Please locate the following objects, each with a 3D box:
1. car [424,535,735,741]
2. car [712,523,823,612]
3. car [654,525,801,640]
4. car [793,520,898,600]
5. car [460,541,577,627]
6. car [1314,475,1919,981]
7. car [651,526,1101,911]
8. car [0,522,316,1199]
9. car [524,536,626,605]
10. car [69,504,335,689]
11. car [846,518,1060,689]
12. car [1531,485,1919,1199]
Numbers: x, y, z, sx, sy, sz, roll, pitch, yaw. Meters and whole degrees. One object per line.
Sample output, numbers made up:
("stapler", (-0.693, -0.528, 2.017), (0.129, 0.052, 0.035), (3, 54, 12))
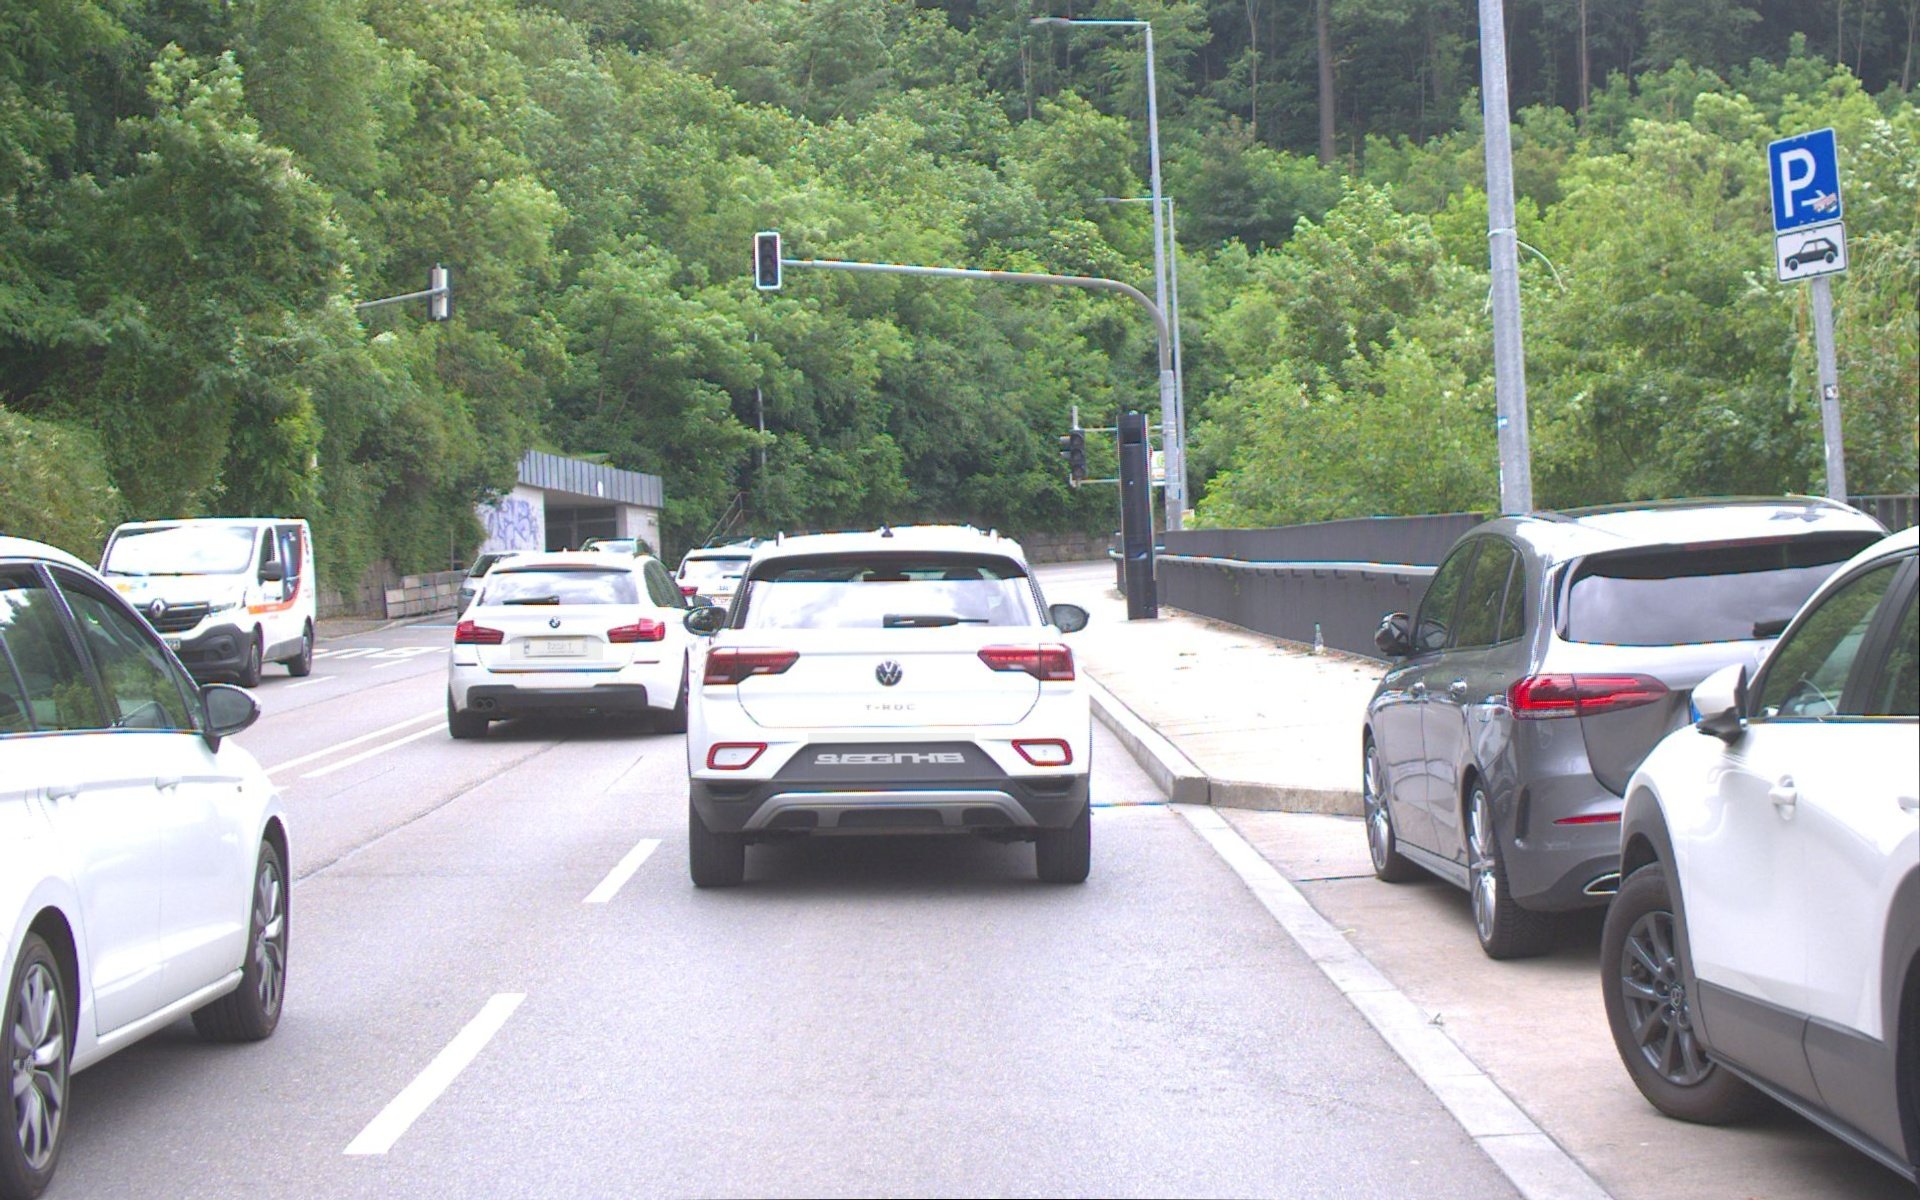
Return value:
("car", (-3.035, 0.245, 28.407), (1.993, 1.552, 4.681), (0, 1, 1))
("car", (-3.857, -0.672, 69.519), (1.993, 1.735, 4.000), (-1, 1, 0))
("car", (-3.342, -0.278, 50.037), (1.862, 1.589, 4.000), (0, 1, 0))
("car", (-2.751, -0.987, 83.511), (1.994, 1.858, 3.999), (-1, 1, 6))
("car", (-8.623, -0.335, 67.375), (1.676, 1.437, 4.234), (0, 3, 1))
("car", (2.566, 0.372, 13.434), (1.757, 1.538, 4.427), (-4, 1, -1))
("car", (-0.380, 0.465, 16.270), (1.813, 1.534, 4.009), (-2, 1, -1))
("car", (-2.939, 0.594, 9.102), (1.720, 1.549, 4.276), (-1, 1, -1))
("car", (-9.257, -0.713, 82.867), (1.942, 1.543, 4.249), (-2, 1, 0))
("car", (-8.859, -0.082, 40.643), (1.921, 1.998, 5.356), (-1, 1, 0))
("car", (-0.014, 0.018, 39.270), (1.994, 1.837, 4.149), (0, 1, 6))
("car", (2.520, 0.529, 7.319), (1.726, 1.563, 4.624), (-3, 1, -1))
